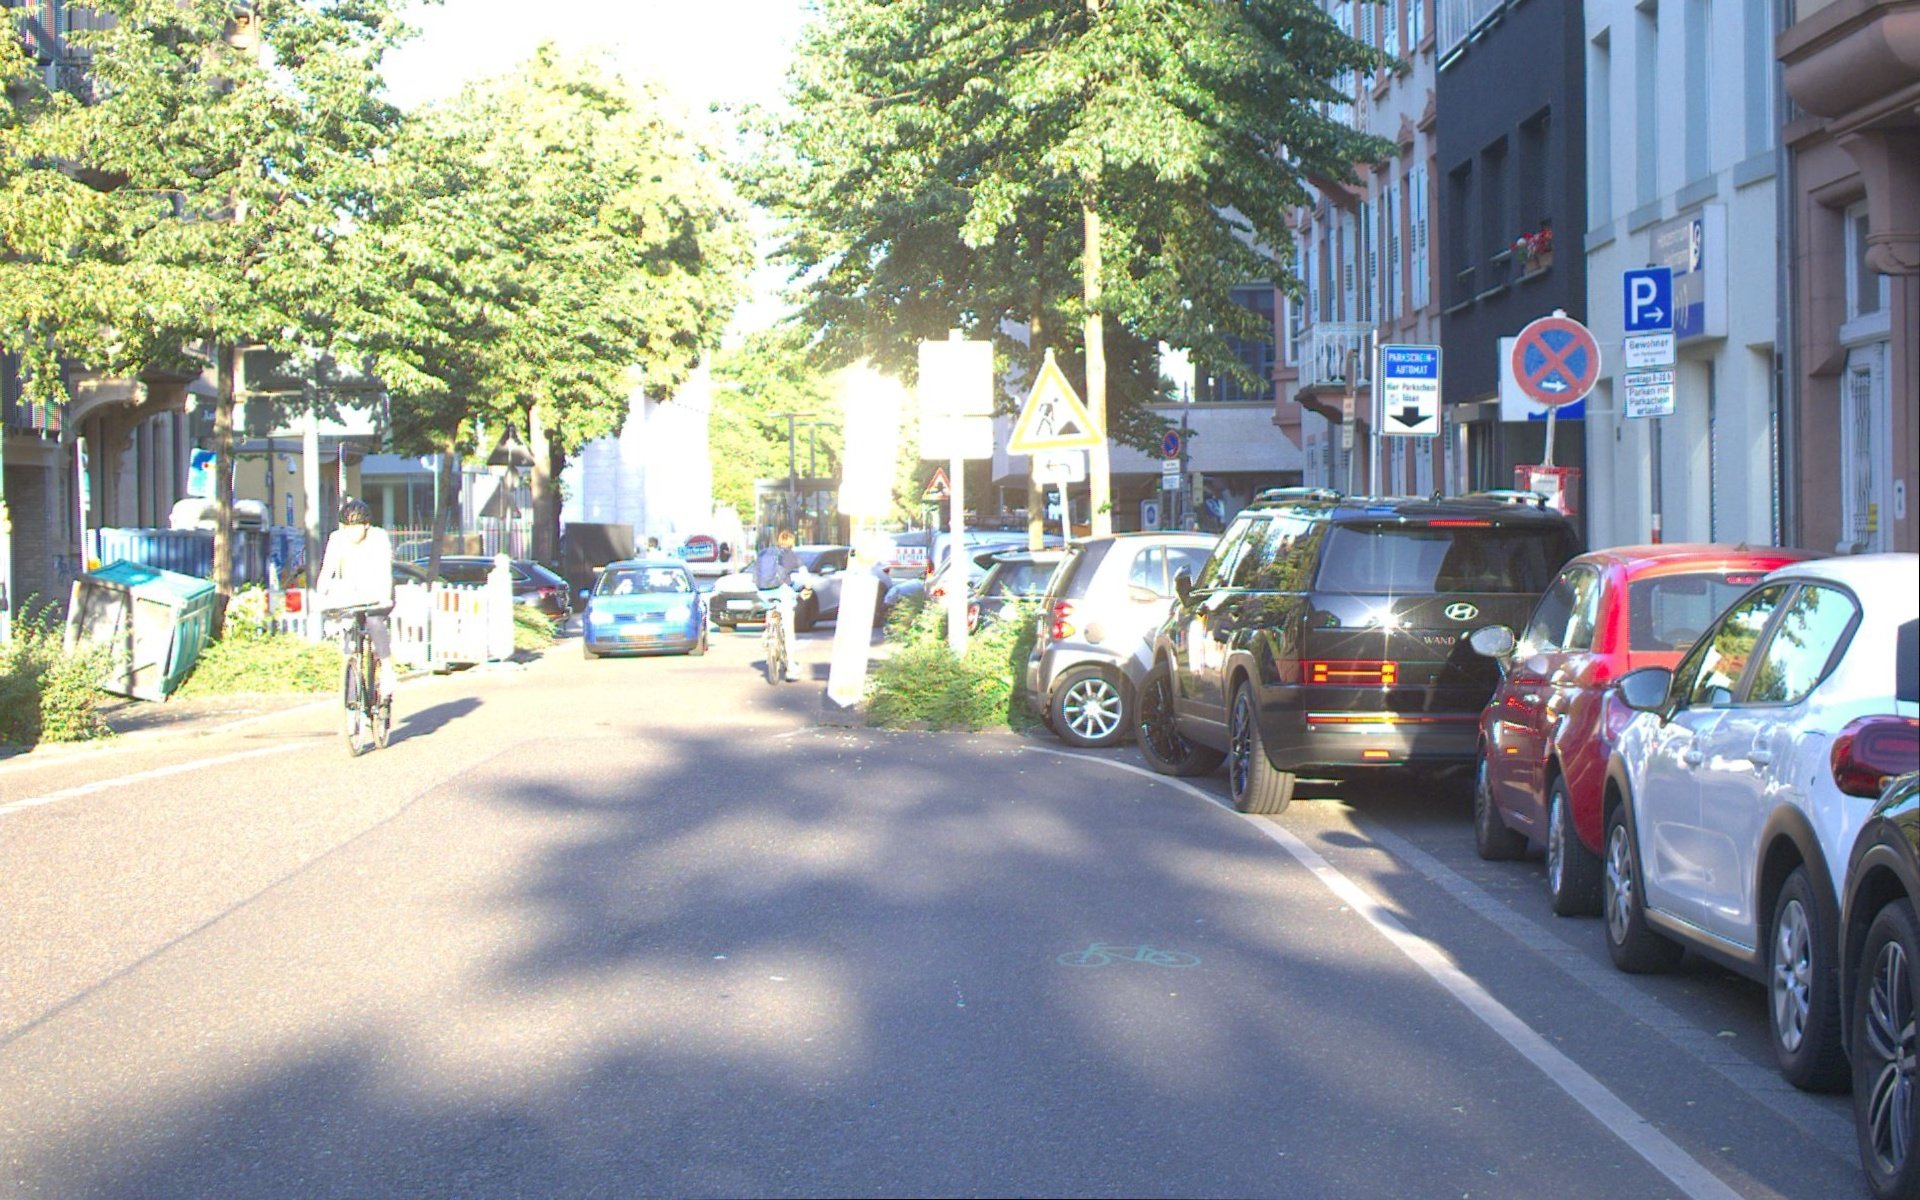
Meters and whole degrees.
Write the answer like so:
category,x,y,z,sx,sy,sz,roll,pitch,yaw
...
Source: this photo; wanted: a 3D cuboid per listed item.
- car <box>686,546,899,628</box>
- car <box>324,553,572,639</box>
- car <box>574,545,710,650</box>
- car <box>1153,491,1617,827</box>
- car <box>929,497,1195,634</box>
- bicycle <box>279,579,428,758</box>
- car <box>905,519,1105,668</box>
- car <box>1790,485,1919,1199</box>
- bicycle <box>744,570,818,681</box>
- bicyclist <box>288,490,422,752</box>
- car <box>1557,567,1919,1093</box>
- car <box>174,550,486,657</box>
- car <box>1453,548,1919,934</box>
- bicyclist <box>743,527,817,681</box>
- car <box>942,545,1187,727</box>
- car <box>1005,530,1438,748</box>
category,x,y,z,sx,sy,sz,roll,pitch,yaw
car,-3.122,-0.255,65.033,1.888,1.475,4.451,1,1,31
car,-9.079,-0.074,61.204,4.103,1.460,1.889,1,0,1
car,-4.665,-0.068,50.958,1.838,1.436,4.332,-1,1,-3
car,2.280,0.278,19.607,1.824,1.689,4.369,1,1,-4
car,1.590,-0.539,52.746,3.987,2.007,2.000,-1,1,4
bicycle,-4.335,0.466,24.714,0.780,1.200,2.021,-2,1,-3
car,0.555,-0.104,47.381,2.265,1.760,4.510,5,0,-4
car,2.924,0.607,6.196,1.812,1.662,4.206,1,1,0
bicycle,-2.016,0.275,38.791,0.780,1.200,2.021,-2,1,-3
bicyclist,-4.337,0.144,24.687,0.780,1.823,1.007,-2,0,-3
car,3.065,0.589,10.882,1.666,1.373,3.802,1,1,0
car,-9.019,0.040,49.430,4.103,1.460,1.889,1,0,1
car,3.143,0.530,14.920,1.587,1.478,3.266,1,1,1
bicyclist,-2.023,0.036,38.684,0.780,1.690,1.007,-2,1,-3
car,0.957,0.311,34.066,1.993,1.662,4.510,1,1,-4
car,1.884,0.277,25.260,2.968,1.531,1.434,1,0,-4
